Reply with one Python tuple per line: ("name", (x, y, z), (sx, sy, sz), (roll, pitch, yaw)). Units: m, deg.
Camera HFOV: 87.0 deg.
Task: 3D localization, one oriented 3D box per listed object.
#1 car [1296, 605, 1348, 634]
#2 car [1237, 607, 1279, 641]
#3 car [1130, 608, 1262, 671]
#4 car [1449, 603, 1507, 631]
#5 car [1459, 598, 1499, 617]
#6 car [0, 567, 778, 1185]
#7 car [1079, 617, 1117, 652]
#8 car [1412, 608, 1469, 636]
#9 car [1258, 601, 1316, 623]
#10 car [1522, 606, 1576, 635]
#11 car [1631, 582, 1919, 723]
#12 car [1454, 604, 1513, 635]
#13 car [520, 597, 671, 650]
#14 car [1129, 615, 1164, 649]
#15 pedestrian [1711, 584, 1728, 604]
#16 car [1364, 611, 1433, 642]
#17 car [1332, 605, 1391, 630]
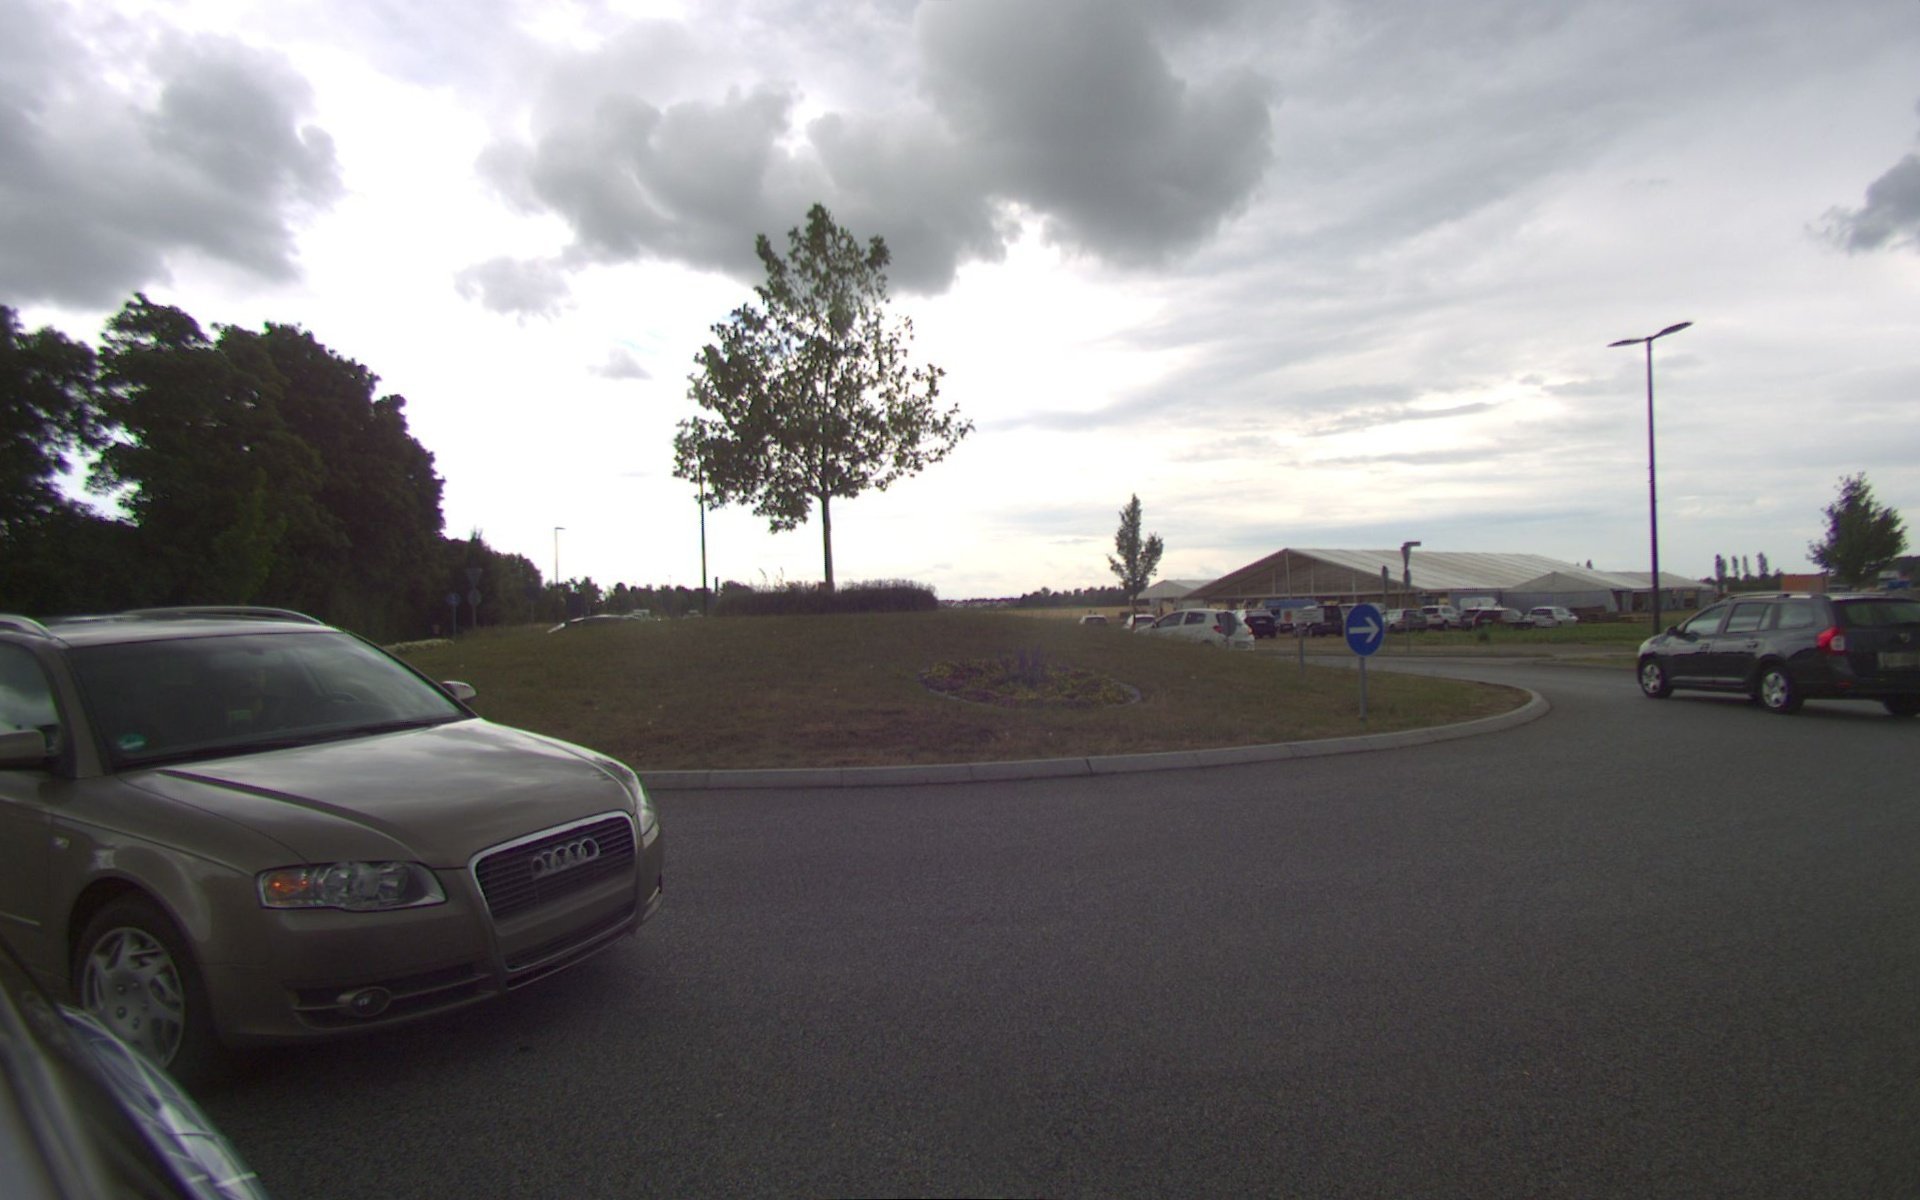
("car", (19.256, 1.013, 54.003), (1.931, 1.453, 3.986), (-2, -1, 11))
("car", (16.119, 1.270, 54.852), (1.698, 1.564, 3.986), (-4, 1, 11))
("car", (6.712, 1.076, 29.024), (1.607, 1.530, 3.408), (-6, 3, -36))
("car", (31.464, 1.020, 61.457), (3.770, 1.619, 1.838), (-1, -1, -41))
("car", (46.721, 0.697, 91.067), (3.769, 1.619, 1.838), (-1, -1, -40))
("car", (-3.159, 0.738, 4.162), (4.513, 1.476, 1.769), (-3, 0, 24))
("car", (7.533, 1.866, 55.018), (1.698, 1.564, 3.986), (-4, 1, 11))
("car", (30.178, 1.387, 63.523), (3.770, 1.619, 1.838), (-1, -1, -41))
("car", (23.645, 0.885, 73.094), (3.933, 1.453, 1.957), (-2, -1, -34))
("car", (34.327, 1.204, 58.940), (1.733, 1.565, 3.941), (-2, -1, 45))
("car", (11.104, 0.597, 13.574), (1.753, 1.575, 4.269), (-2, 0, 8))
("car", (28.687, 1.055, 55.564), (1.617, 1.619, 3.866), (-2, -1, 9))
("car", (-11.043, 0.691, 30.707), (4.013, 1.441, 1.768), (-1, -1, -32))
("car", (10.062, 1.694, 54.660), (1.698, 1.564, 3.986), (-4, 1, 11))
("pedestrian", (77.003, -0.590, 102.624), (1.043, 2.029, 1.054), (-1, -1, -36))
("car", (24.449, 1.435, 56.519), (1.707, 1.619, 3.883), (-1, -1, -8))
("car", (26.220, 1.115, 66.036), (3.938, 1.453, 1.954), (-1, -1, -41))
